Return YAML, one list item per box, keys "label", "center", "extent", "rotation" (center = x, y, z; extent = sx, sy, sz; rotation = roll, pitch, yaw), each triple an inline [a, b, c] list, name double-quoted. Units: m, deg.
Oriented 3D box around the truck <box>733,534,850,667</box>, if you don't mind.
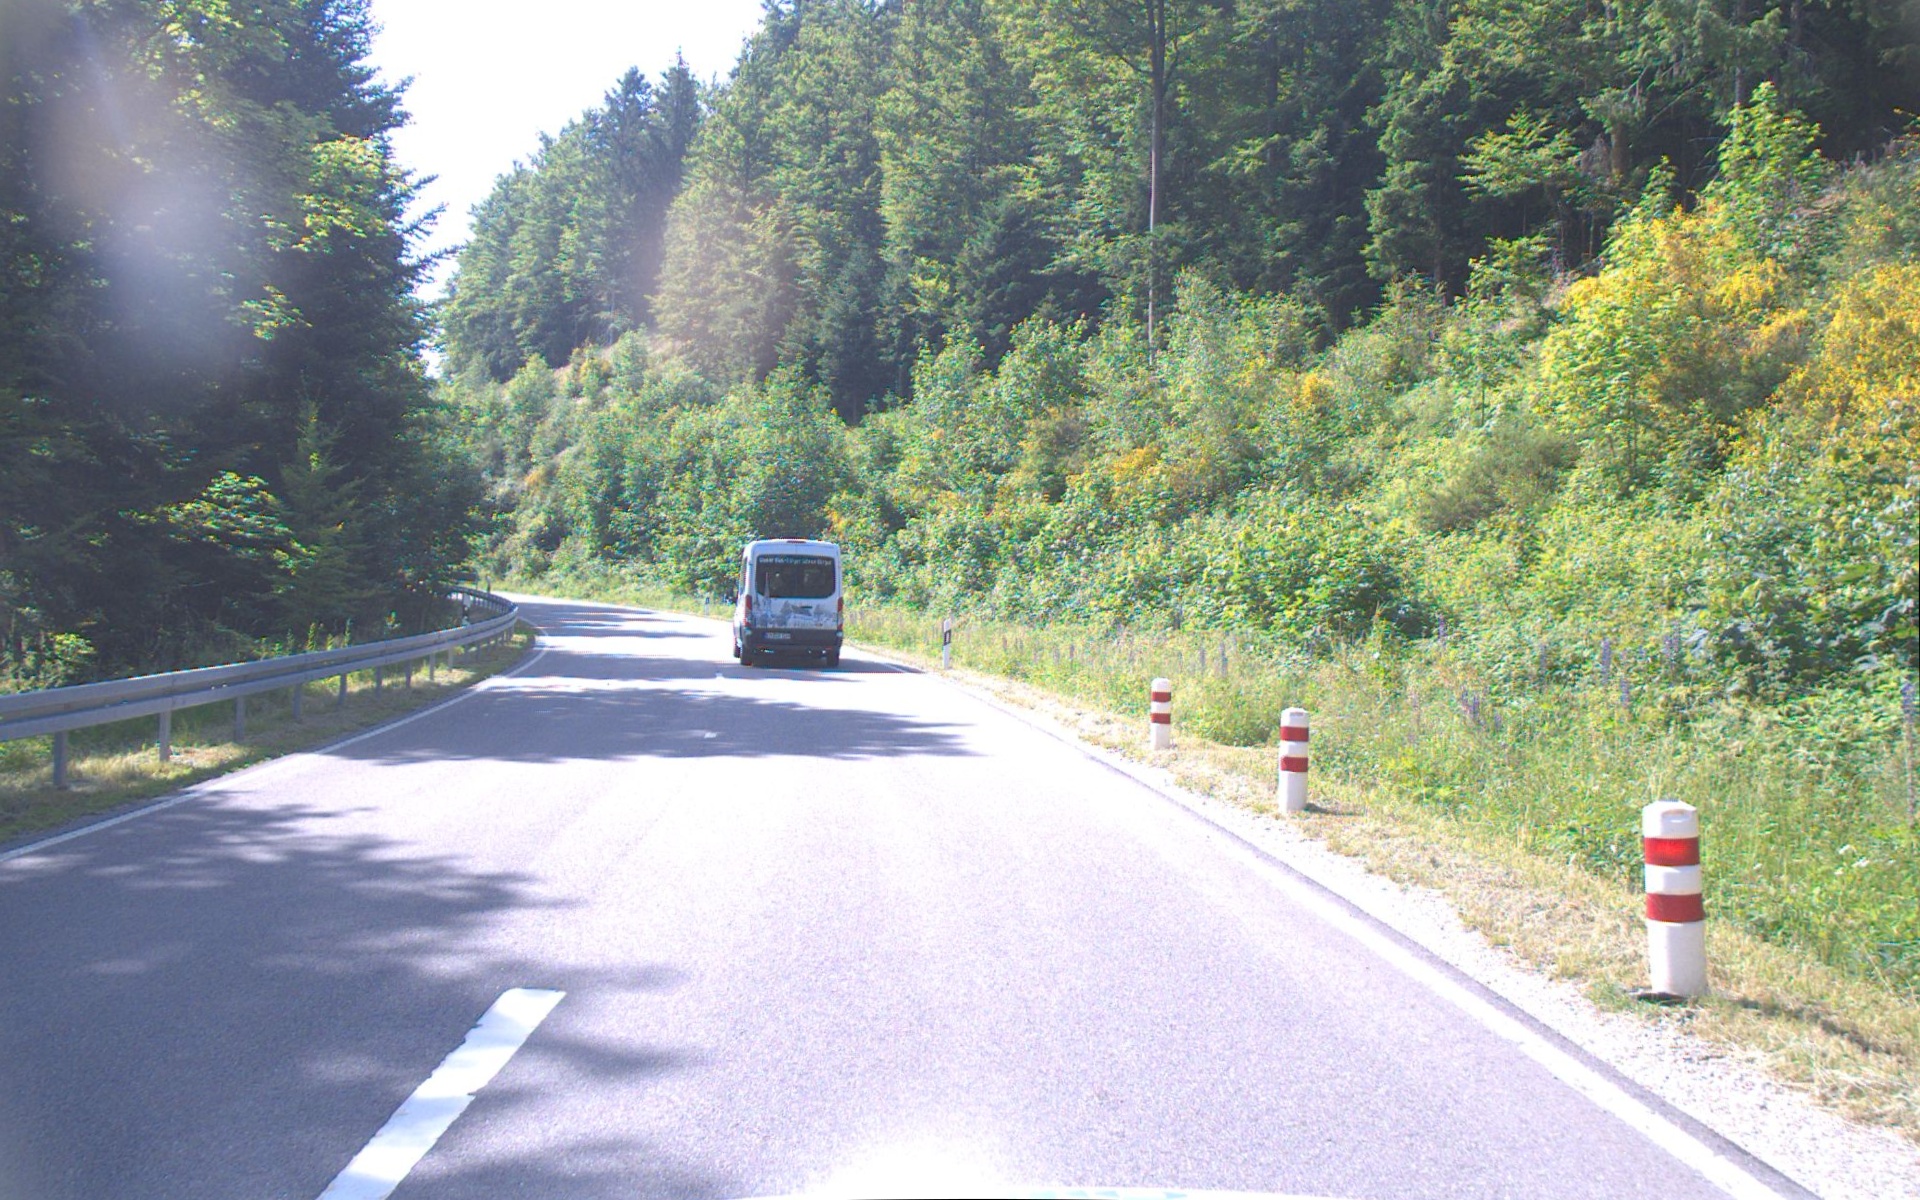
- label: "truck"
  center: [-3.606, -0.022, 34.550]
  extent: [2.077, 2.542, 5.347]
  rotation: [1, 1, -10]
